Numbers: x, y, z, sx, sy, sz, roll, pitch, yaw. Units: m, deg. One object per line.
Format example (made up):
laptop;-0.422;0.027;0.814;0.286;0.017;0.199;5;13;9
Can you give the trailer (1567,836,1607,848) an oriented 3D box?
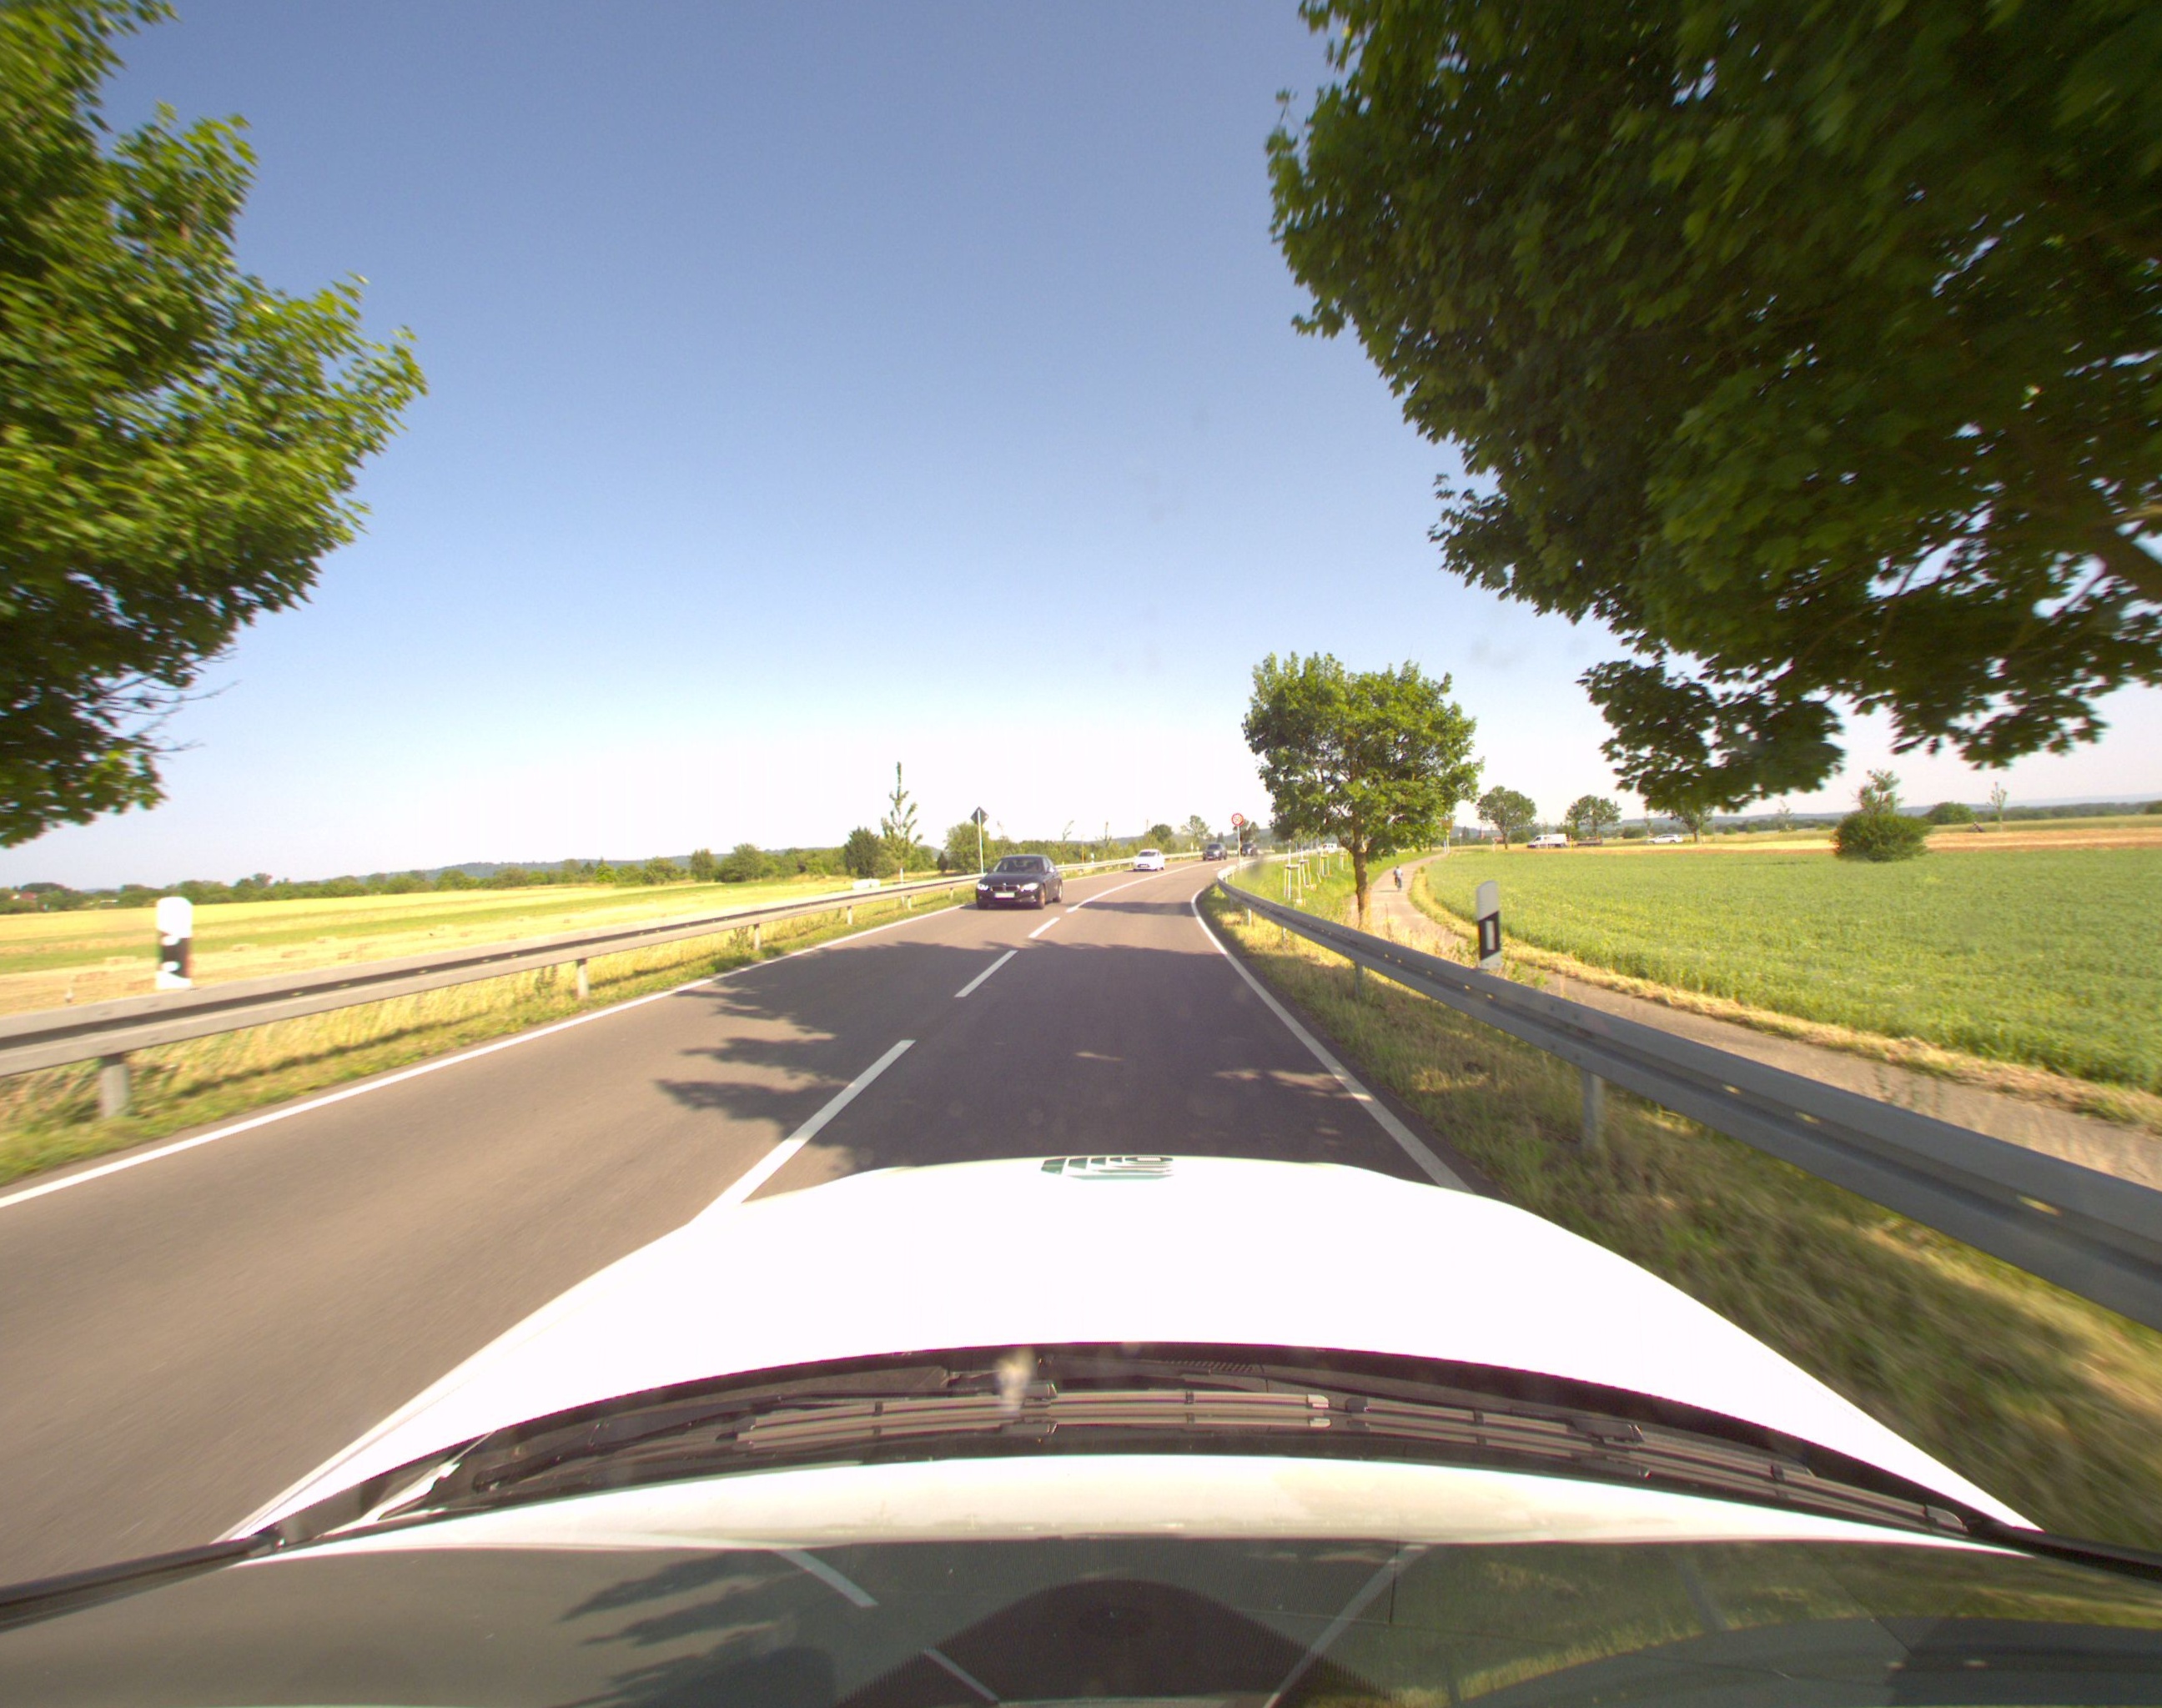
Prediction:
trailer;81.911;-1.945;131.908;5.209;1.753;1.966;-3;-2;39

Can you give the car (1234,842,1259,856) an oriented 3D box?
car;20.511;-0.615;100.672;1.976;1.592;4.891;0;1;23

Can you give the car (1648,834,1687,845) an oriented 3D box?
car;90.456;-2.206;125.662;4.821;1.510;2.013;-1;-1;36

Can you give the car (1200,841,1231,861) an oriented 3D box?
car;13.473;-0.281;81.343;1.866;1.798;5.118;-1;-2;22

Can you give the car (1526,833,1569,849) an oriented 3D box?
car;77.603;-2.117;135.575;5.899;2.493;2.013;-1;-1;39

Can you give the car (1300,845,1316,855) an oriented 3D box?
car;37.174;-0.685;133.424;1.778;1.448;4.734;0;3;25

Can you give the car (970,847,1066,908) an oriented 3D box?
car;-1.658;0.665;22.877;1.827;1.544;4.253;0;-2;7

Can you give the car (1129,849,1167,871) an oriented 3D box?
car;4.670;0.400;56.038;1.839;1.449;4.171;0;0;16
